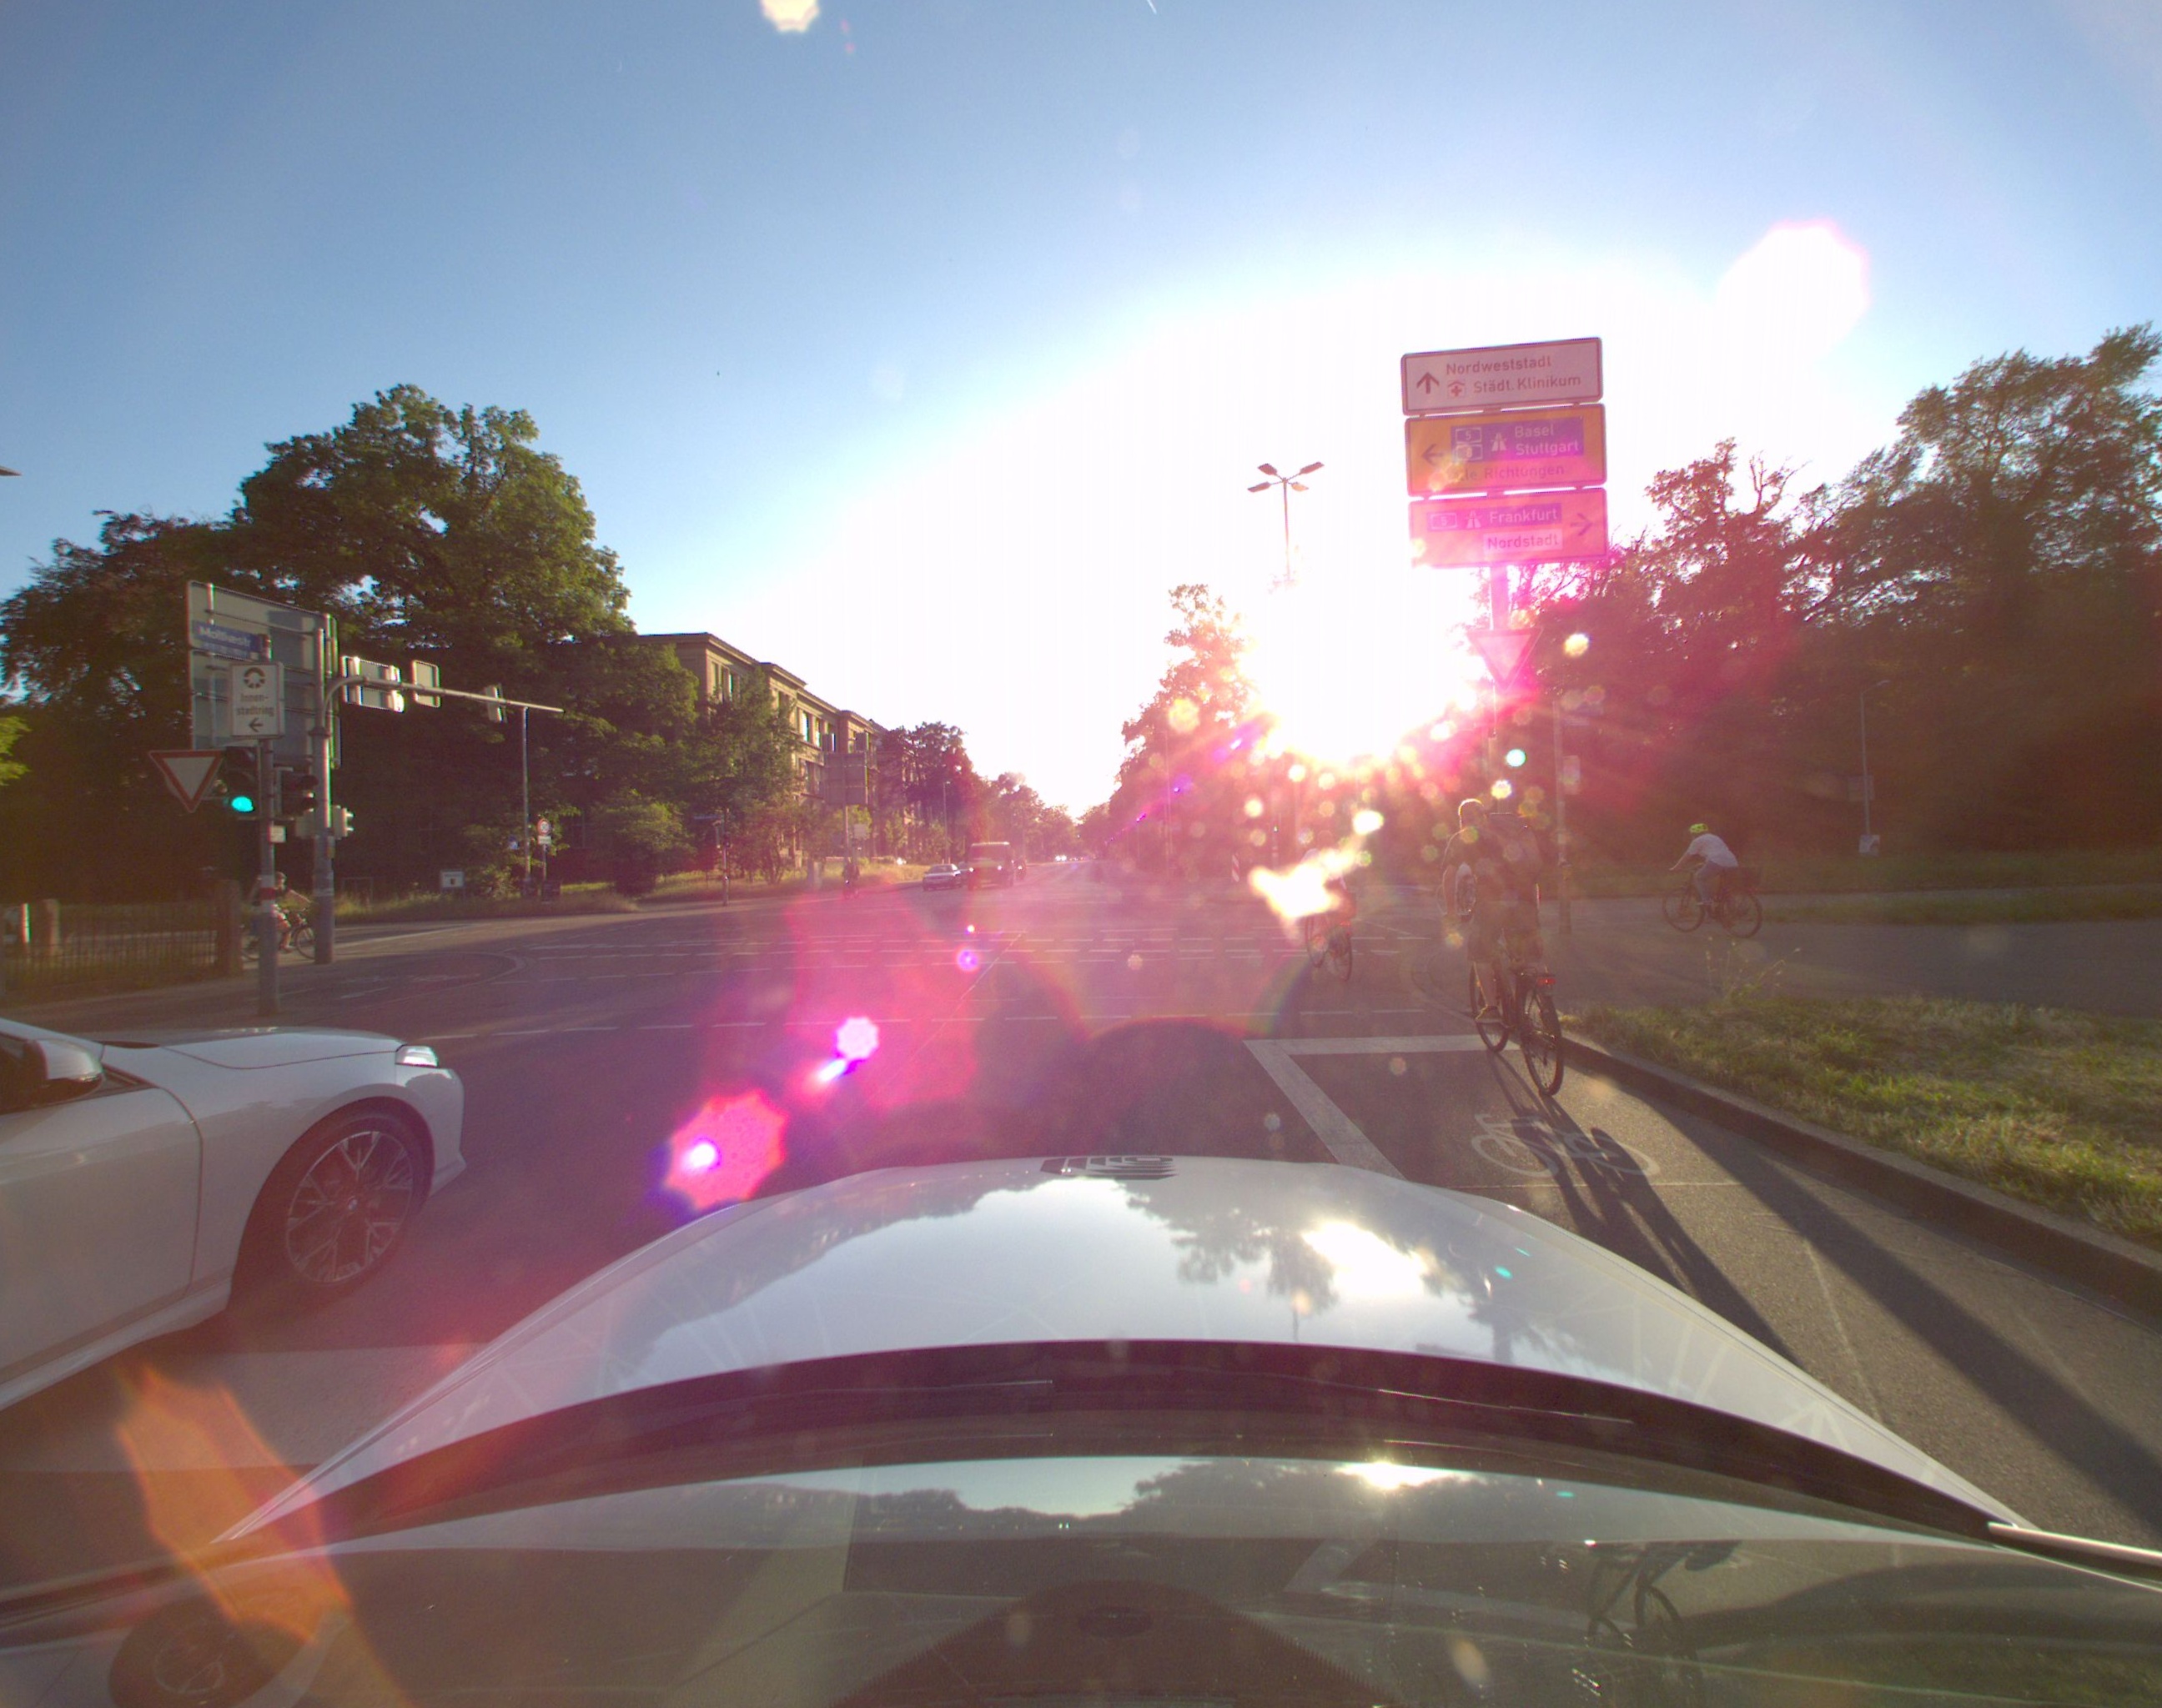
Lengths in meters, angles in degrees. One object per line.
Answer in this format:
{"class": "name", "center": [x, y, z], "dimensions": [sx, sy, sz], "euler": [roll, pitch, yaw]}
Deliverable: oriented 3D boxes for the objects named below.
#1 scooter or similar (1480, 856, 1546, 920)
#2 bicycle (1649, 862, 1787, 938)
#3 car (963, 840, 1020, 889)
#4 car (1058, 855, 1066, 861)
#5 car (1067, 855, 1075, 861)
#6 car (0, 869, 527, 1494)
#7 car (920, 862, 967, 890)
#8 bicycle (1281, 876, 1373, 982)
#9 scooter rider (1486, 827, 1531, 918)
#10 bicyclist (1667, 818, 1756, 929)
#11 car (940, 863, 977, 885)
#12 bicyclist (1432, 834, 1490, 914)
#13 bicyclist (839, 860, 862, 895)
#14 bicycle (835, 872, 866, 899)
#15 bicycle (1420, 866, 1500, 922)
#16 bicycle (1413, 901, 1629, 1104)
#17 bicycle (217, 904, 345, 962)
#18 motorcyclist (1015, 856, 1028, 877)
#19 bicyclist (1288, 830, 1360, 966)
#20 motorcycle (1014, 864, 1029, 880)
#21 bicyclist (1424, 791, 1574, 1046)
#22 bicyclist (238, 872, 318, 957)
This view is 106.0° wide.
{"class": "scooter or similar", "center": [8.502, 0.656, 16.076], "dimensions": [0.559, 1.189, 1.423], "euler": [-2, -1, 3]}
{"class": "bicycle", "center": [9.414, 0.641, 12.134], "dimensions": [0.562, 1.014, 1.800], "euler": [-2, 0, -2]}
{"class": "car", "center": [-4.509, 0.525, 41.963], "dimensions": [2.031, 2.278, 5.943], "euler": [-2, 0, 2]}
{"class": "car", "center": [-4.621, 0.991, 195.171], "dimensions": [1.766, 1.474, 3.772], "euler": [-2, 0, -2]}
{"class": "car", "center": [-2.966, 1.229, 239.940], "dimensions": [1.988, 1.640, 3.997], "euler": [-2, 0, -2]}
{"class": "car", "center": [-3.479, 0.824, 1.658], "dimensions": [1.746, 1.466, 4.189], "euler": [-2, 0, 1]}
{"class": "car", "center": [-7.599, 1.198, 45.325], "dimensions": [1.723, 1.409, 4.141], "euler": [-2, 0, 2]}
{"class": "bicycle", "center": [2.994, 0.866, 10.091], "dimensions": [0.611, 1.138, 1.885], "euler": [-1, 0, 2]}
{"class": "scooter rider", "center": [8.499, 0.356, 16.205], "dimensions": [0.563, 1.766, 0.505], "euler": [-2, -1, 2]}
{"class": "bicyclist", "center": [9.399, 0.283, 12.168], "dimensions": [0.552, 1.569, 0.898], "euler": [-2, 0, -3]}
{"class": "car", "center": [-8.071, 1.316, 53.884], "dimensions": [1.758, 1.328, 3.644], "euler": [-2, 0, 2]}
{"class": "bicyclist", "center": [7.537, 0.386, 16.191], "dimensions": [0.756, 1.518, 0.858], "euler": [-1, 0, 4]}
{"class": "bicyclist", "center": [-10.346, 1.035, 36.596], "dimensions": [0.680, 1.512, 0.956], "euler": [-2, 0, 1]}
{"class": "bicycle", "center": [-10.332, 1.397, 36.631], "dimensions": [0.684, 1.123, 2.169], "euler": [-2, 0, 2]}
{"class": "bicycle", "center": [7.556, 0.777, 16.344], "dimensions": [0.767, 1.007, 2.019], "euler": [-1, 0, 4]}
{"class": "bicycle", "center": [2.898, 0.905, 5.602], "dimensions": [0.695, 1.063, 1.829], "euler": [-1, 0, 8]}
{"class": "bicycle", "center": [-15.915, 1.568, 16.231], "dimensions": [1.890, 1.089, 0.660], "euler": [0, -1, 0]}
{"class": "motorcyclist", "center": [-3.975, 0.816, 54.153], "dimensions": [0.747, 1.358, 0.704], "euler": [-2, -1, 1]}
{"class": "bicyclist", "center": [2.979, 0.522, 10.057], "dimensions": [0.601, 1.586, 0.910], "euler": [-1, 0, 1]}
{"class": "motorcycle", "center": [-3.964, 1.194, 54.135], "dimensions": [0.751, 1.001, 1.879], "euler": [-2, 0, 2]}
{"class": "bicyclist", "center": [2.910, 0.426, 5.752], "dimensions": [0.694, 1.667, 0.800], "euler": [-1, 0, 7]}
{"class": "bicyclist", "center": [-15.990, 1.187, 16.234], "dimensions": [0.908, 1.633, 0.653], "euler": [0, -1, 0]}
